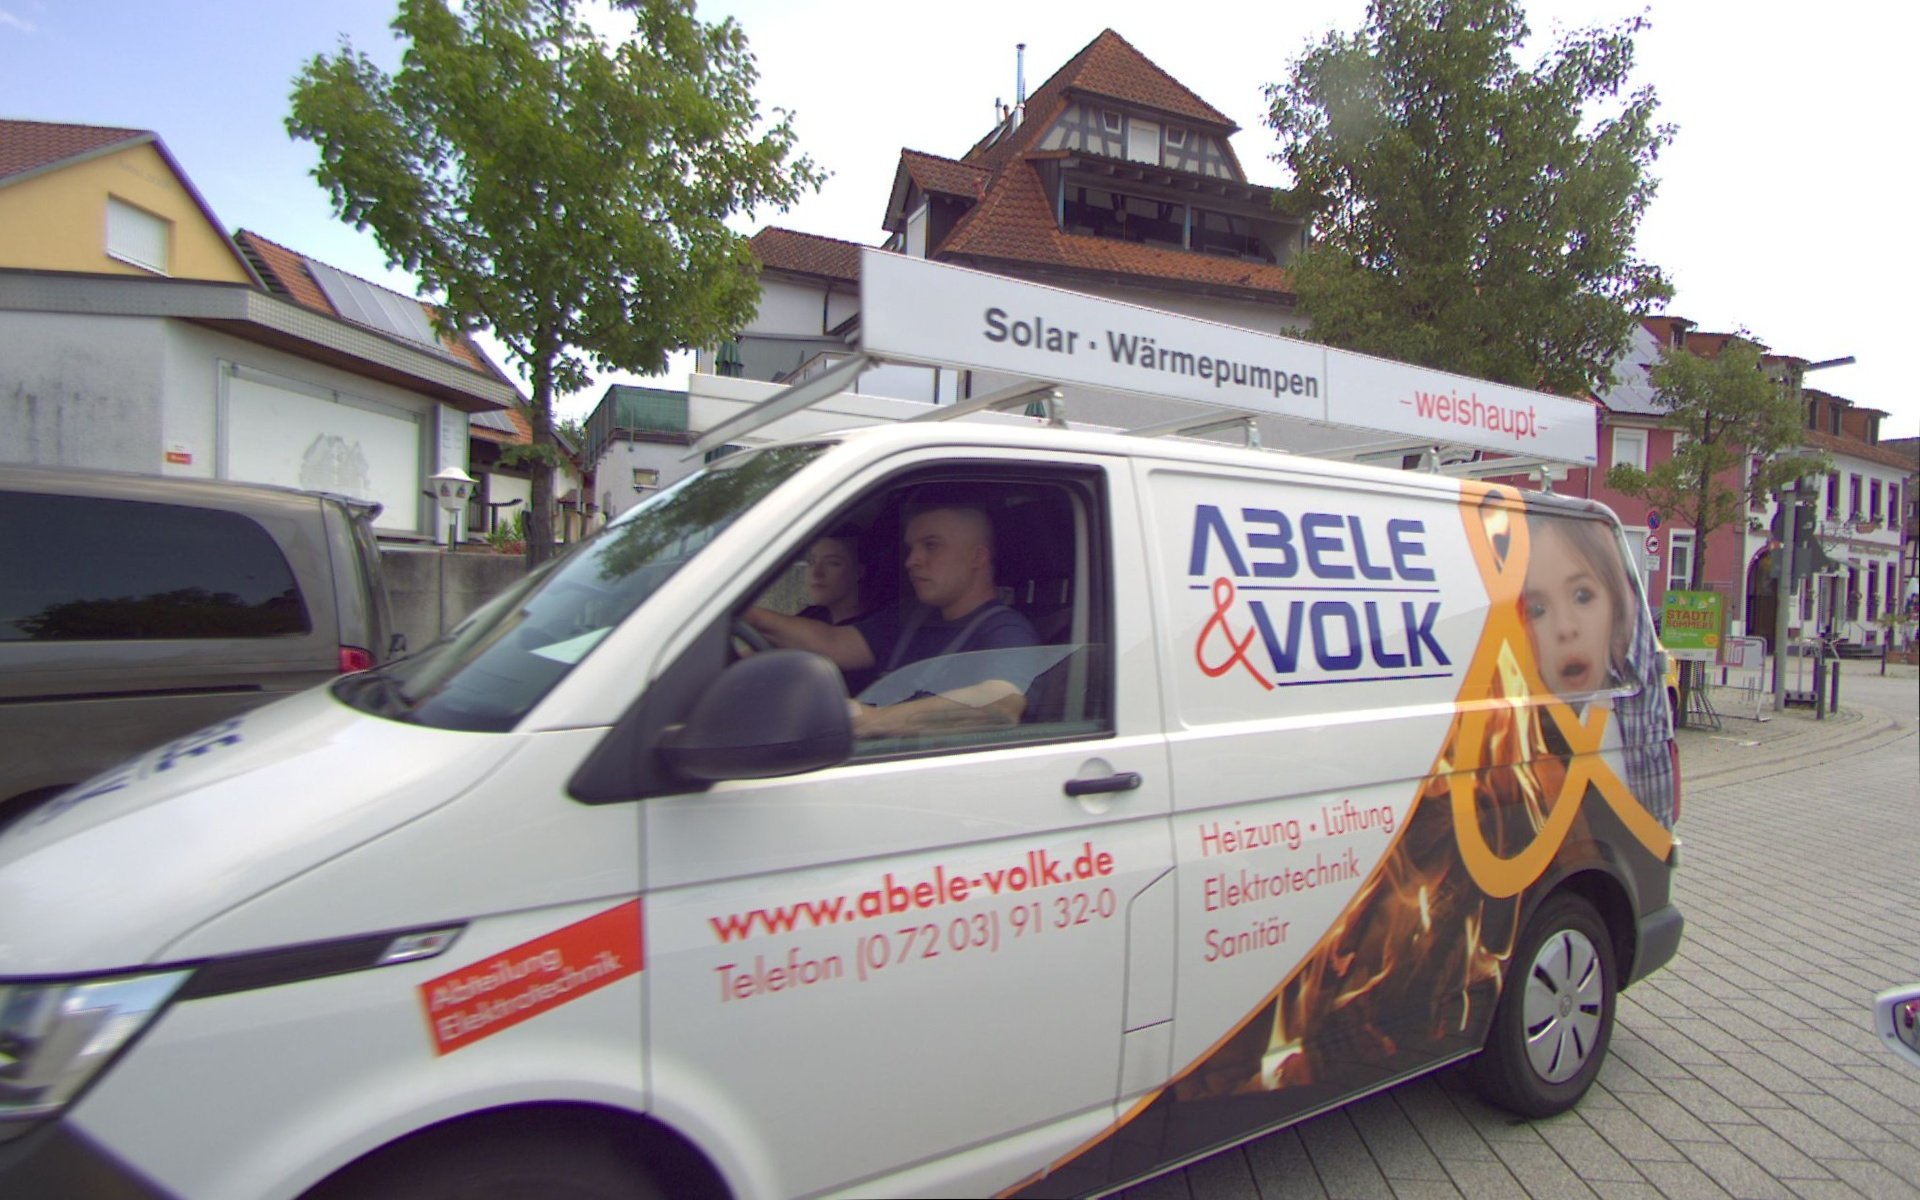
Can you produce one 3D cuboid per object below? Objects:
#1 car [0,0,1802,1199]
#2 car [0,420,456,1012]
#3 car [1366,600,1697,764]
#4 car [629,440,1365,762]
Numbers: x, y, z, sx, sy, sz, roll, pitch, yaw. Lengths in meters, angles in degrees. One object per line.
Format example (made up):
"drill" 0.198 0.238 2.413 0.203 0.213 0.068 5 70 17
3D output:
"car" 0.334 0.344 3.054 4.973 2.215 1.878 1 0 -31
"car" -4.703 0.354 3.743 4.982 2.017 1.978 1 1 -29
"car" 6.407 0.797 11.134 3.923 1.494 1.657 1 0 -35
"car" 0.385 0.027 6.460 4.486 1.442 1.806 1 1 -32
